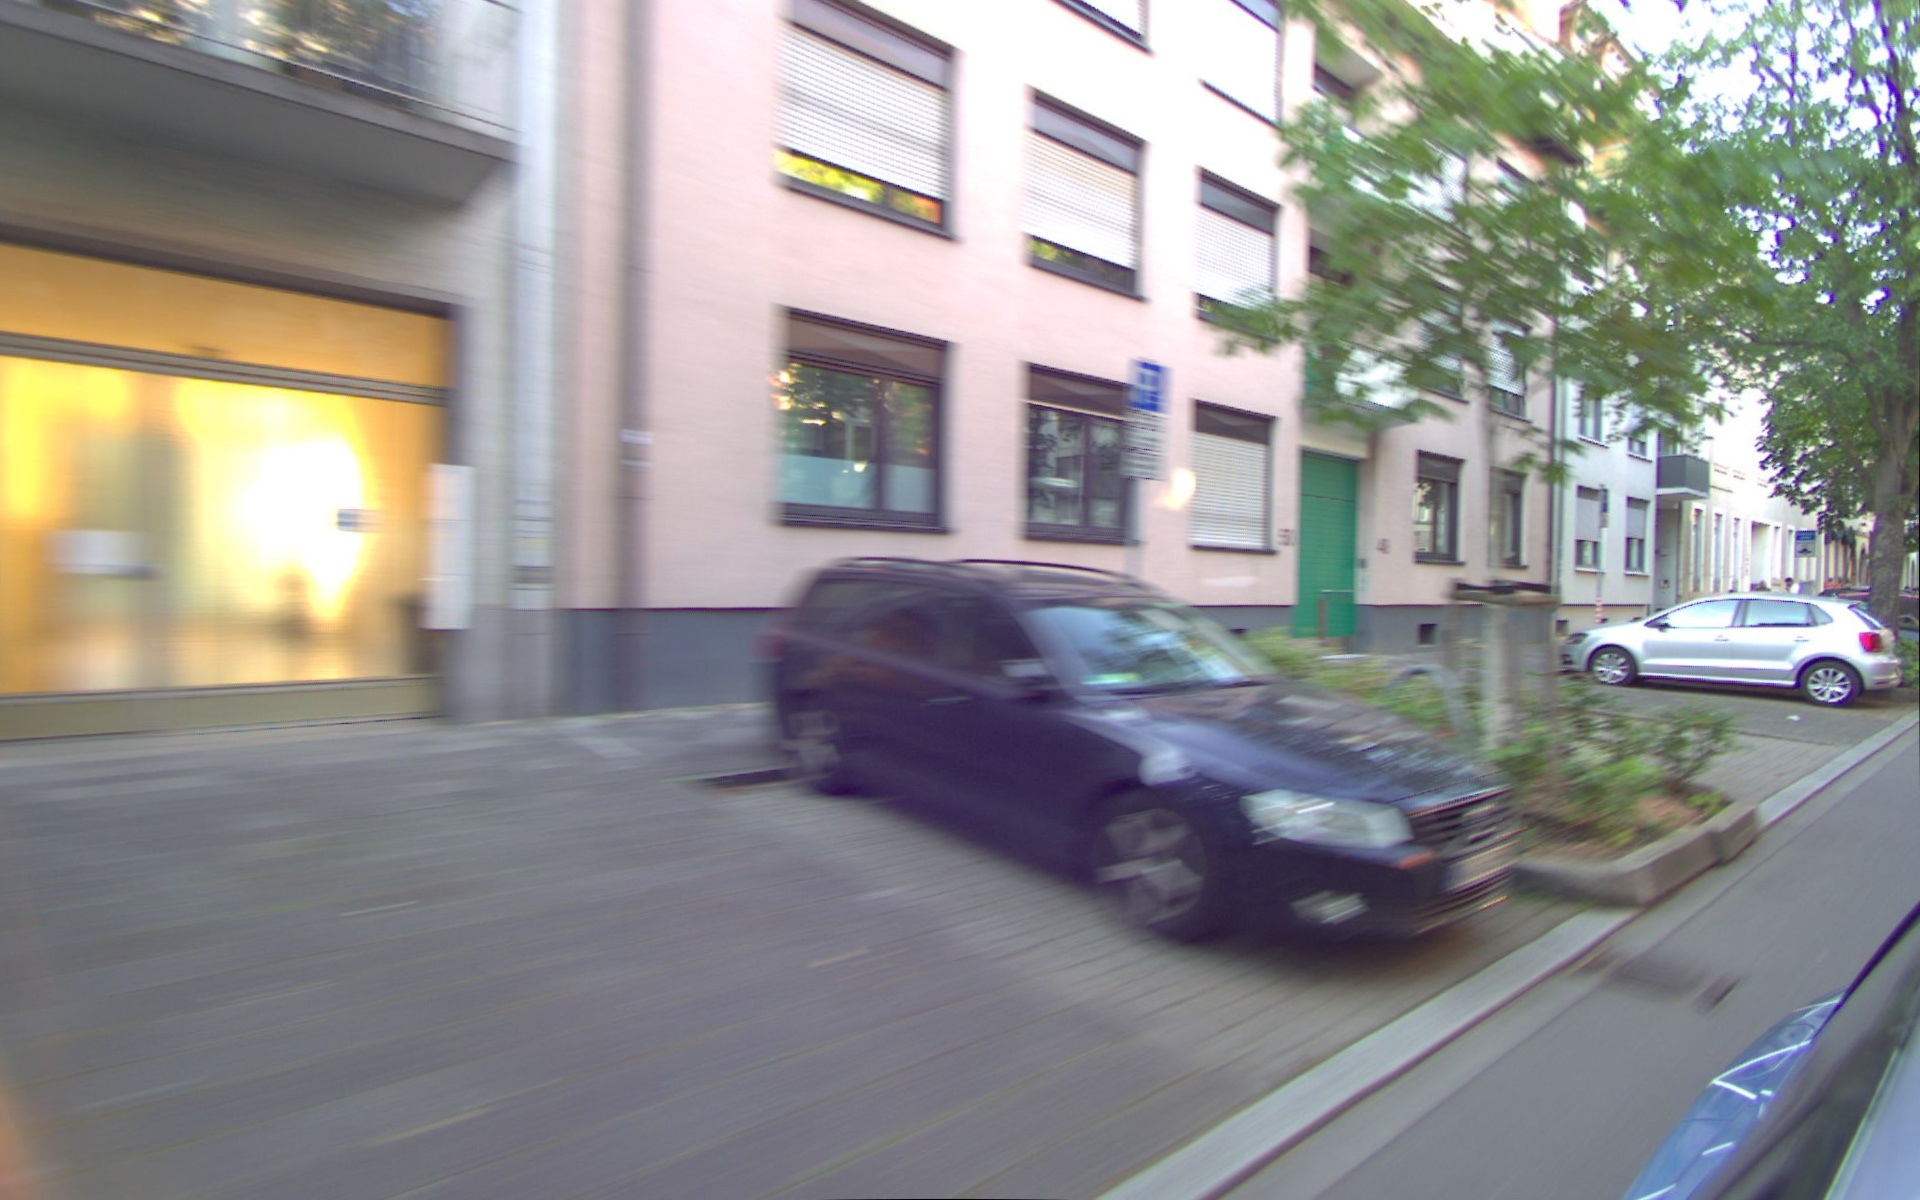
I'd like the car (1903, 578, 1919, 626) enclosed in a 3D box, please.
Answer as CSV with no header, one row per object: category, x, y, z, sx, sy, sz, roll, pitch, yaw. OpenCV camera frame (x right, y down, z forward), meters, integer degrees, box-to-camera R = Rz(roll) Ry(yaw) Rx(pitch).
car,37.557,0.139,37.277,1.966,1.784,3.992,0,2,-43

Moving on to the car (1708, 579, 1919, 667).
car,17.037,0.407,19.516,1.644,1.415,3.862,0,3,-37

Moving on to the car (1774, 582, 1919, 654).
car,20.862,0.417,22.641,1.645,1.415,3.858,0,3,-40

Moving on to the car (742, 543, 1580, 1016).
car,0.594,0.502,5.688,1.665,1.488,4.596,0,4,-39

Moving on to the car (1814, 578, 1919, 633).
car,26.886,0.187,28.644,1.645,1.415,3.858,0,3,-40

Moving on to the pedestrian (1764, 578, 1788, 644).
pedestrian,25.708,0.345,31.893,0.476,2.038,0.449,0,2,-41

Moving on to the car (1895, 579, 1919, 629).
car,35.894,0.206,35.777,1.966,1.784,3.992,0,2,-43

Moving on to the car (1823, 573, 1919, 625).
car,28.362,0.008,30.078,1.645,1.415,3.858,0,3,-40

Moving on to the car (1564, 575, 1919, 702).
car,11.090,0.439,14.502,1.647,1.415,3.854,0,4,-44

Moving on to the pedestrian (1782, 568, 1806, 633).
pedestrian,26.525,0.024,32.187,0.476,2.038,0.449,0,2,-41
